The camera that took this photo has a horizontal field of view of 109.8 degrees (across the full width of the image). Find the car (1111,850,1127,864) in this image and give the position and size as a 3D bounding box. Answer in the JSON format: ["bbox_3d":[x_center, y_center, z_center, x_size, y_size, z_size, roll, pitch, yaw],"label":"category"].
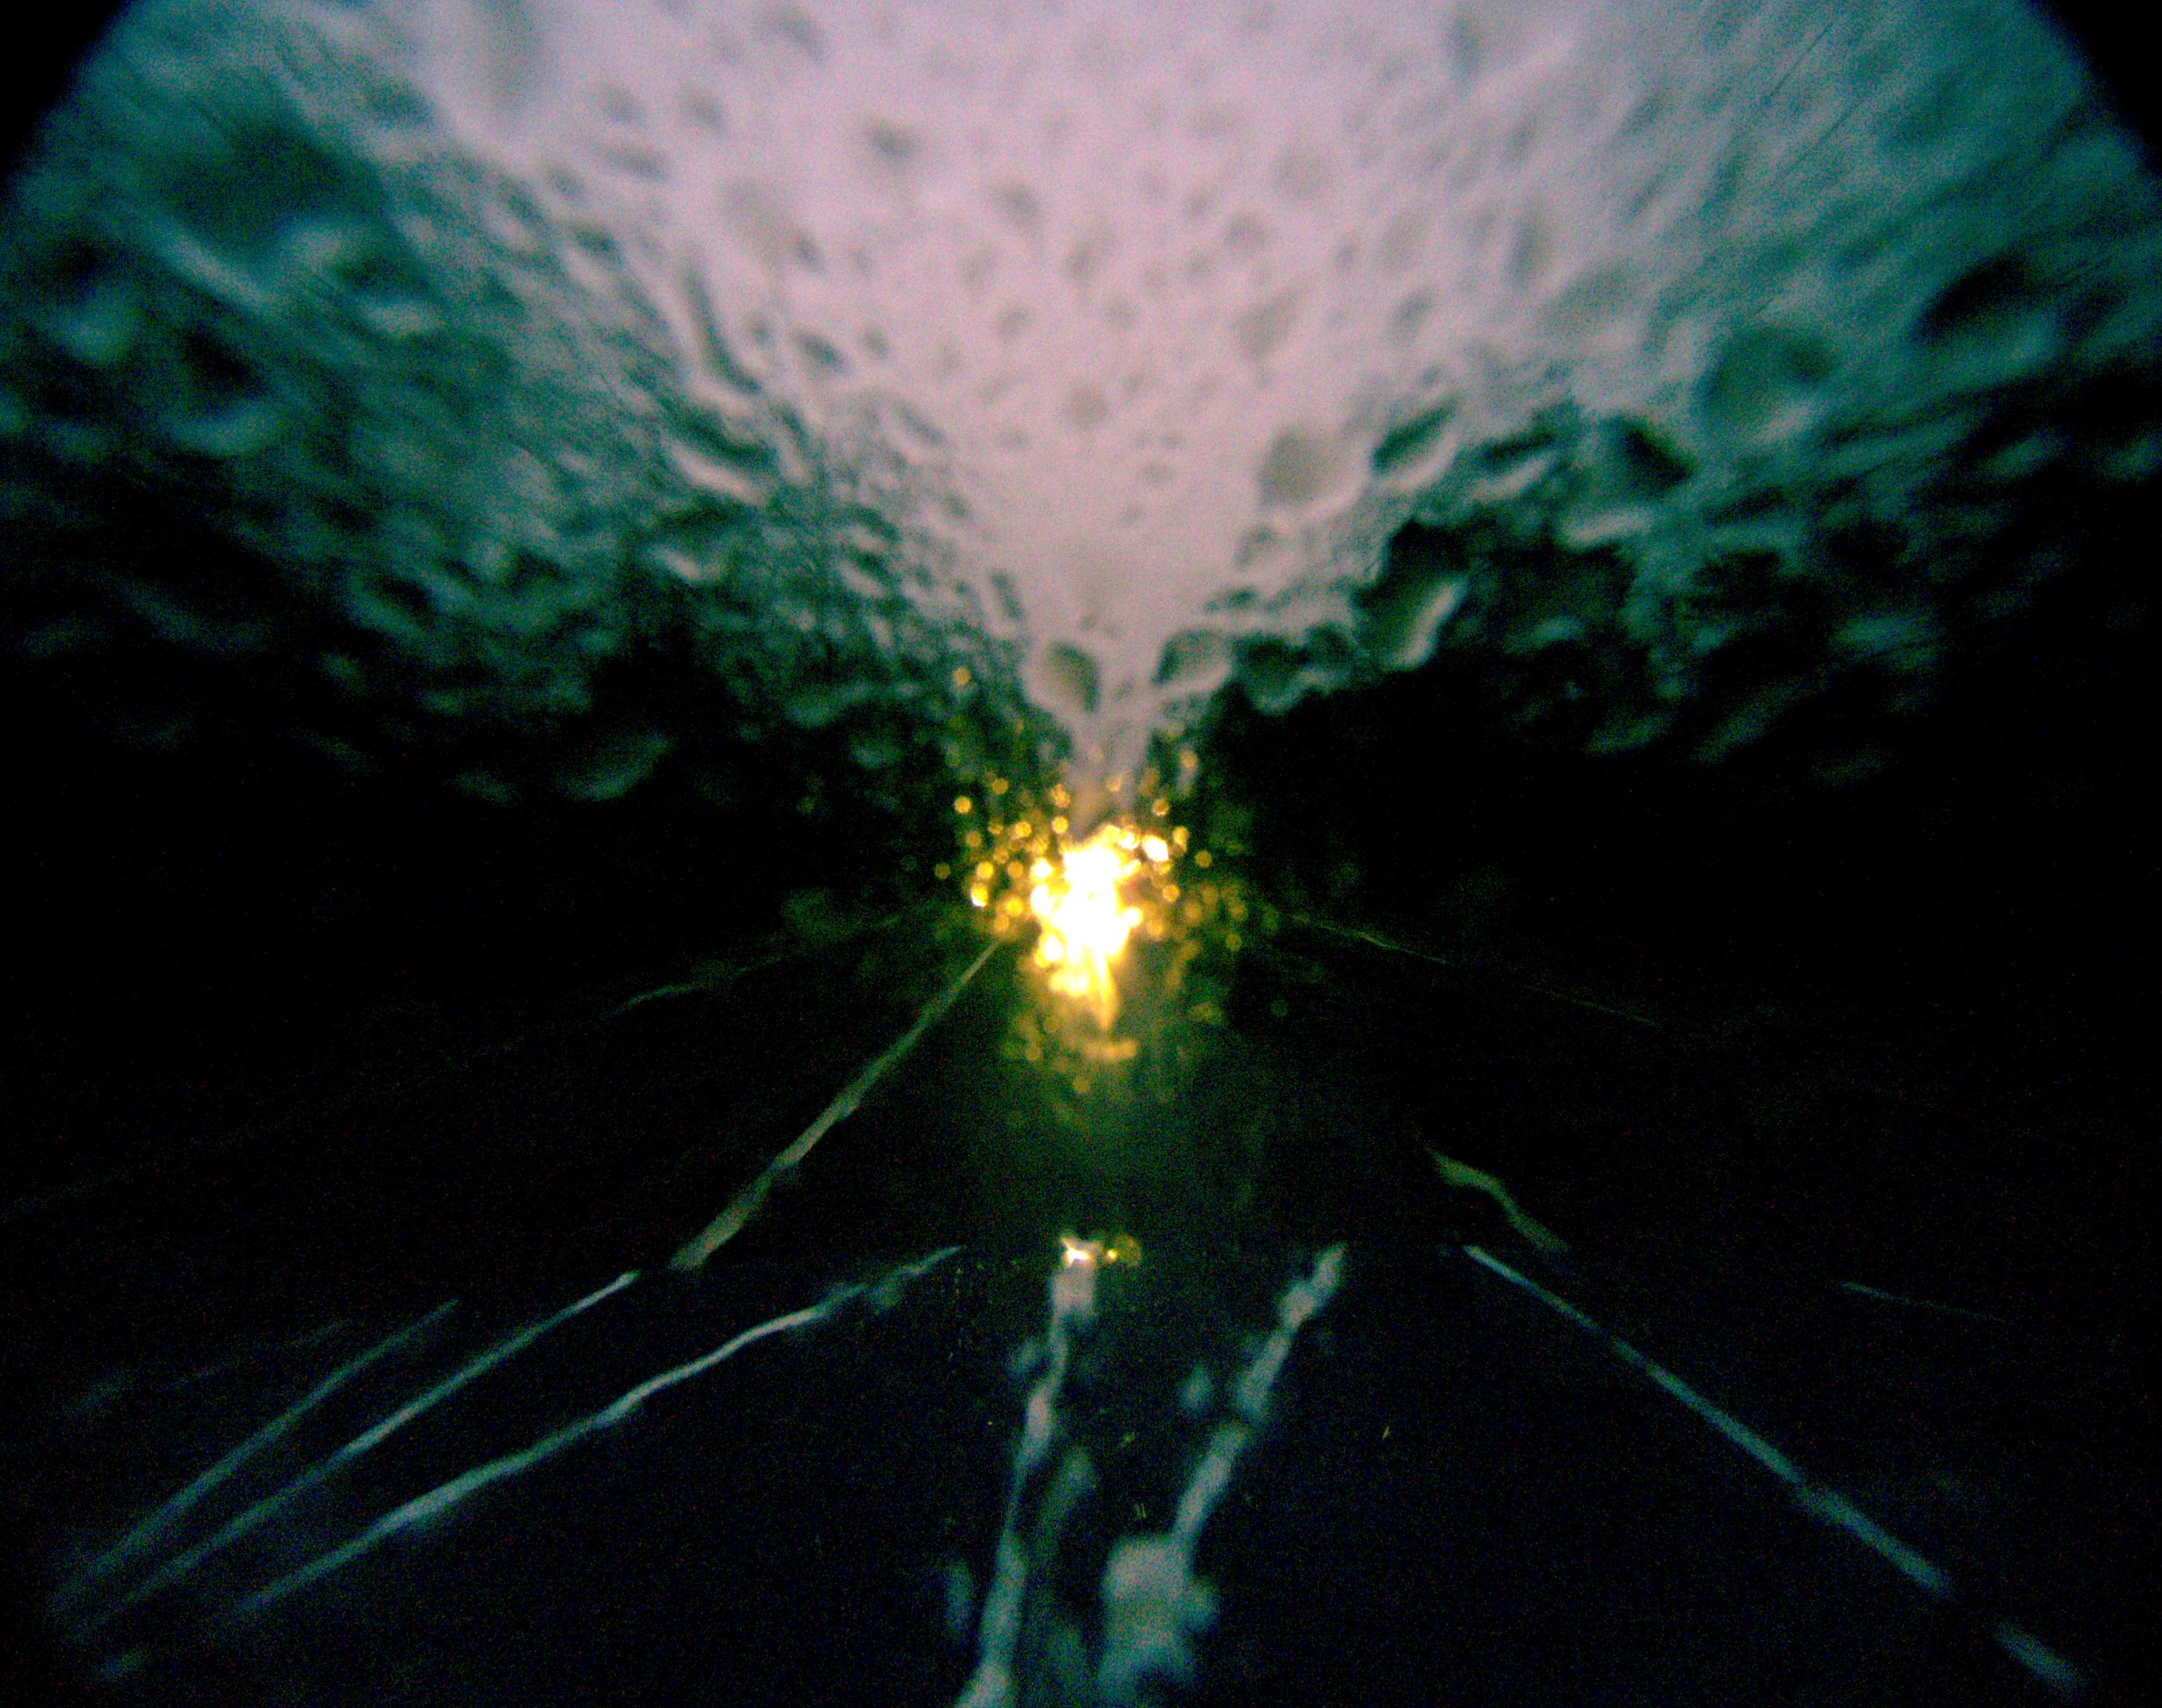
[{"bbox_3d":[4.599,0.321,92.379,1.804,1.591,3.861,0,1,1],"label":"car"}]

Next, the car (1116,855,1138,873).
[{"bbox_3d":[4.214,0.934,70.811,1.826,1.639,4.750,1,0,1],"label":"car"}]

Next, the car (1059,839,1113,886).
[{"bbox_3d":[0.326,0.369,39.968,2.542,2.213,6.169,-2,1,2],"label":"car"}]
